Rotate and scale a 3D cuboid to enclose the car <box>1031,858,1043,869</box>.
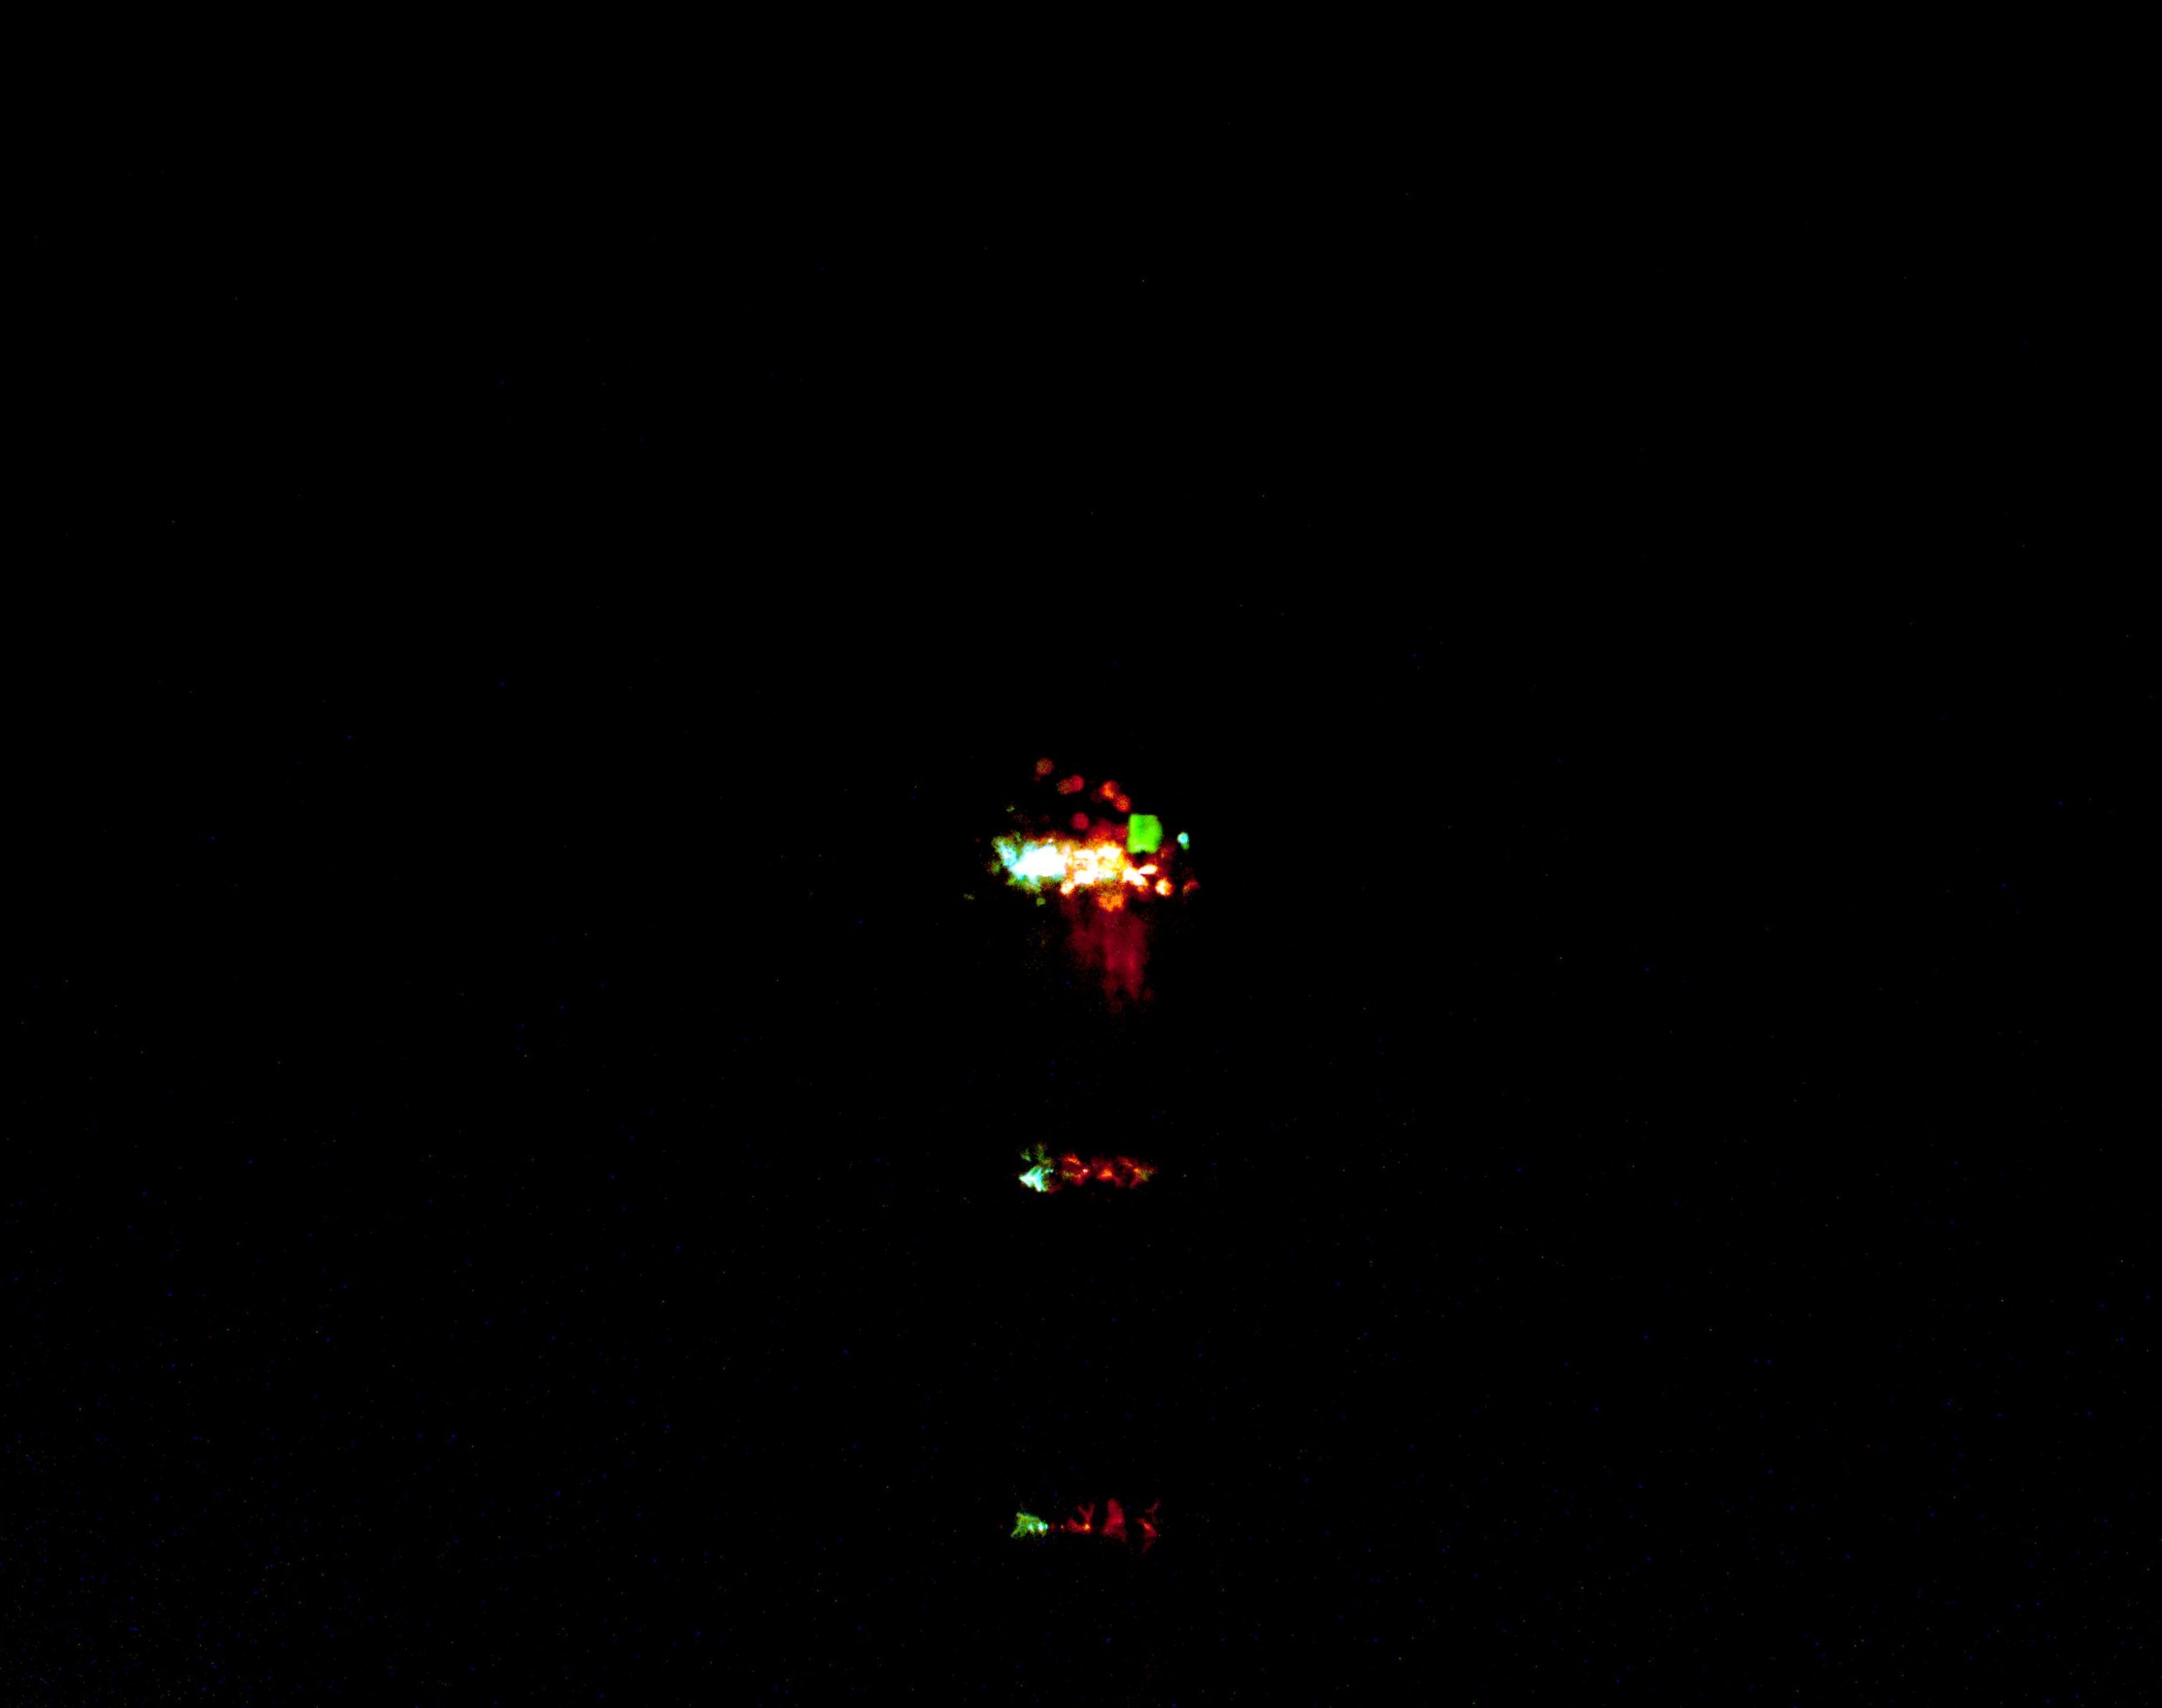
[{"bbox_3d":[-7.369,1.600,137.085,1.858,1.544,4.225,-2,1,-3],"label":"car"}]

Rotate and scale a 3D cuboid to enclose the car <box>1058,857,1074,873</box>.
[{"bbox_3d":[-1.945,1.398,103.288,1.988,1.915,3.997,2,-1,-2],"label":"car"}]

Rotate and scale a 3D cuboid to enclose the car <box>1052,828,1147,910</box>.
[{"bbox_3d":[0.529,0.444,26.682,2.707,2.307,6.099,-1,0,0],"label":"car"}]
